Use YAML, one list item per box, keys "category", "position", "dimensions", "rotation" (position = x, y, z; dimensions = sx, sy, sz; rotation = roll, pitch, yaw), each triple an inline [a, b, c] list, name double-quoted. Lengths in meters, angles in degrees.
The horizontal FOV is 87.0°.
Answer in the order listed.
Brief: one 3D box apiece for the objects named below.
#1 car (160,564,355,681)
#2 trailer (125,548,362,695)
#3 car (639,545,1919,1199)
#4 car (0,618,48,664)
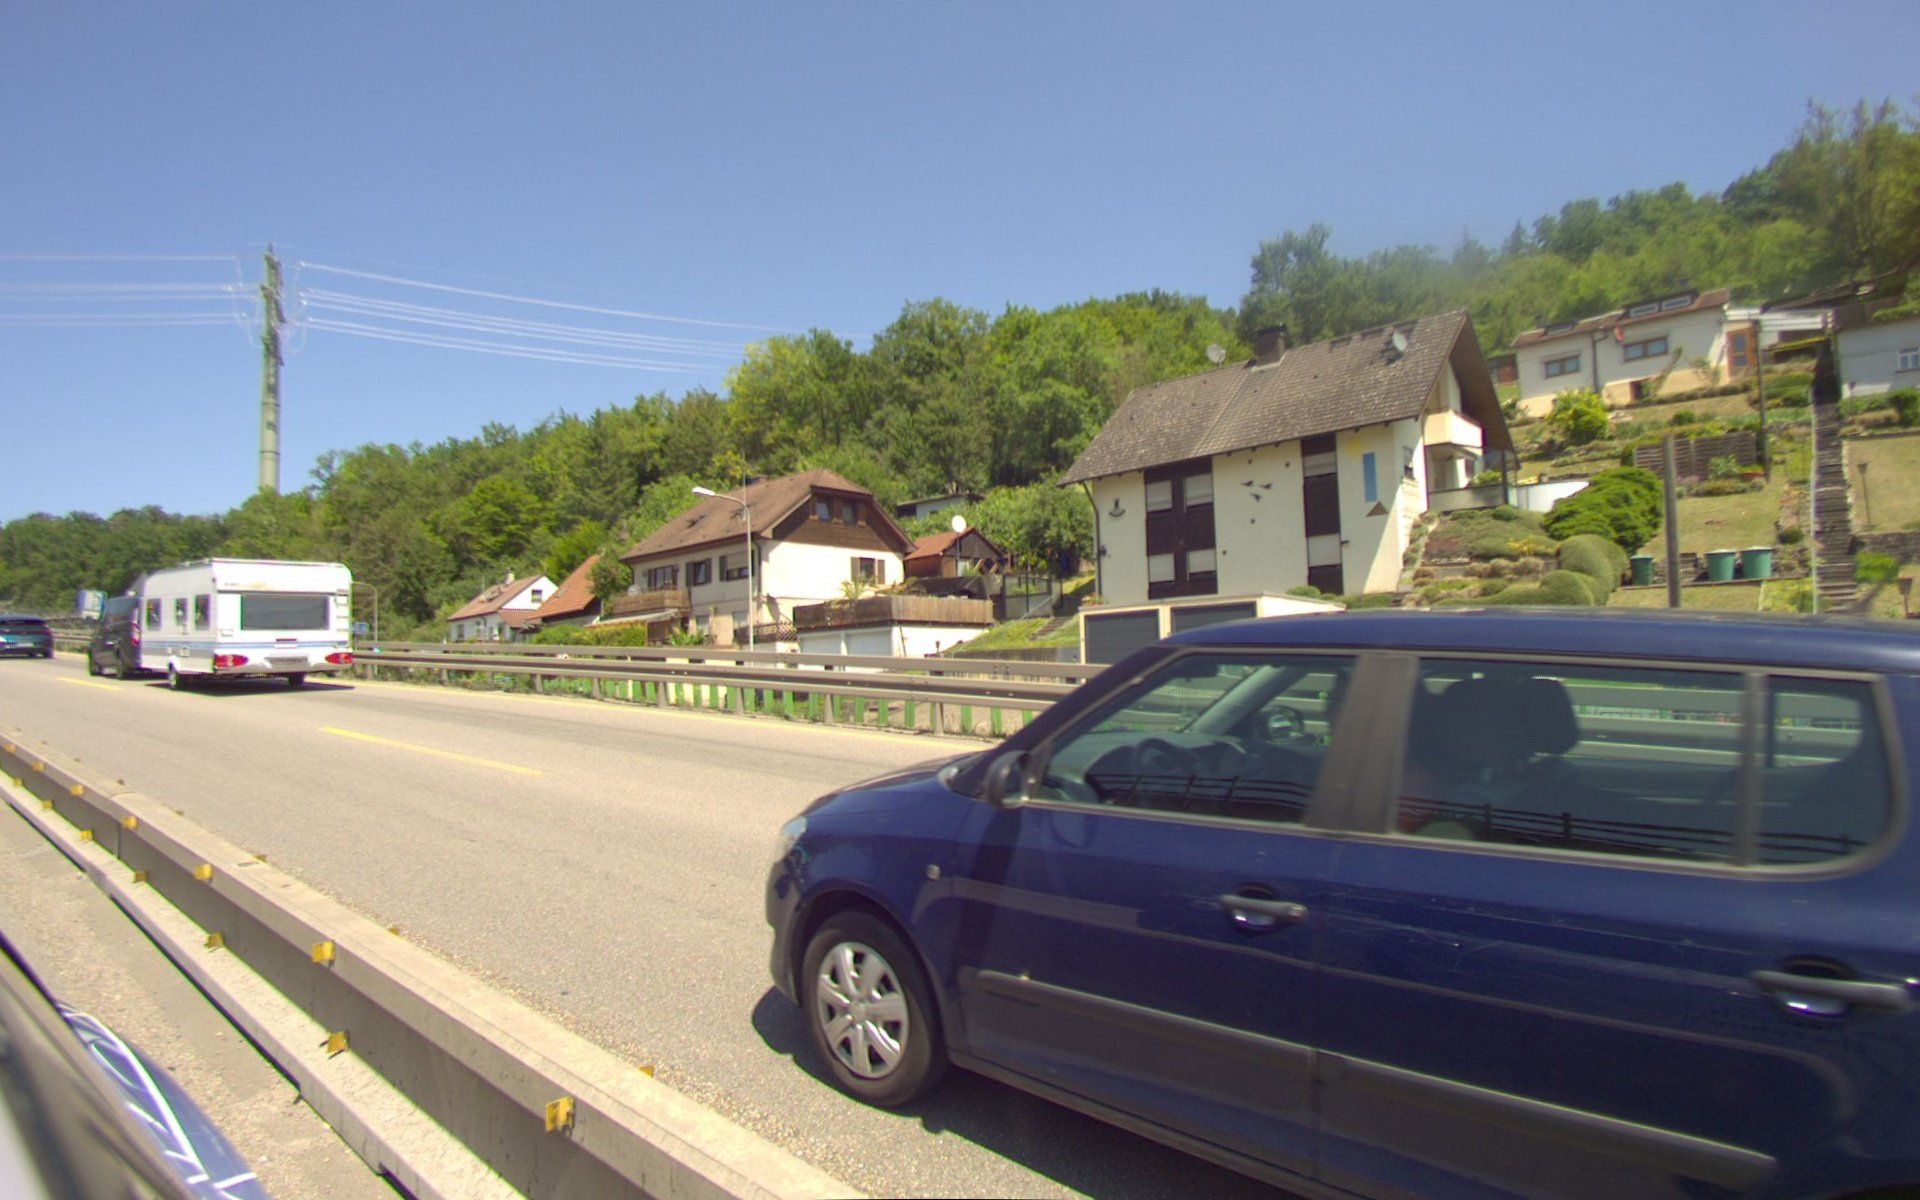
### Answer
- category: "car"
  position: [-13.941, 0.410, 19.969]
  dimensions: [4.977, 2.029, 1.973]
  rotation: [-1, -1, 41]
- category: "trailer"
  position: [-14.972, 0.412, 20.976]
  dimensions: [6.237, 2.608, 2.573]
  rotation: [-1, -1, 41]
- category: "car"
  position: [0.943, 0.685, 2.861]
  dimensions: [4.211, 1.473, 1.554]
  rotation: [-1, -2, 41]
- category: "car"
  position: [-33.727, 1.417, 35.720]
  dimensions: [3.851, 1.526, 1.610]
  rotation: [-1, -1, 38]
